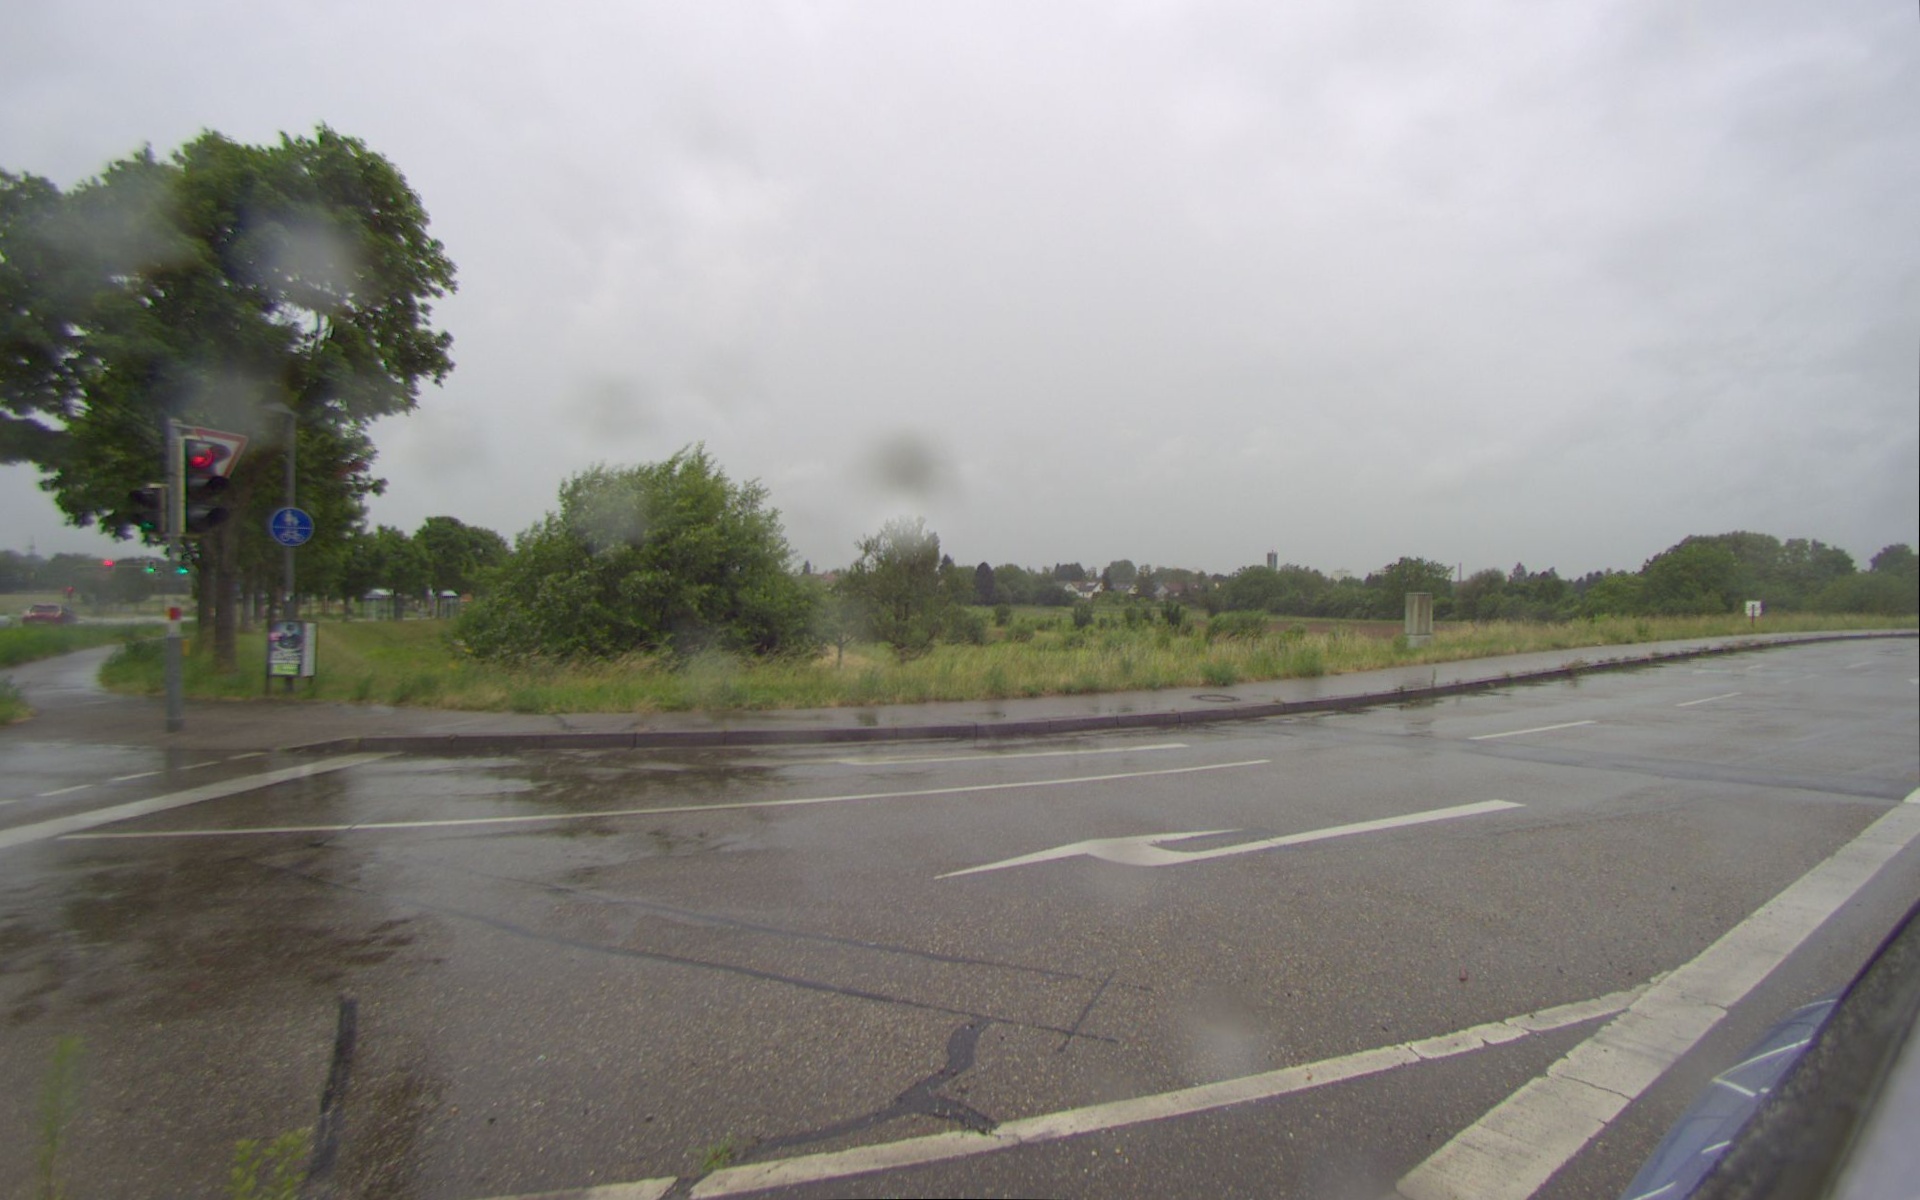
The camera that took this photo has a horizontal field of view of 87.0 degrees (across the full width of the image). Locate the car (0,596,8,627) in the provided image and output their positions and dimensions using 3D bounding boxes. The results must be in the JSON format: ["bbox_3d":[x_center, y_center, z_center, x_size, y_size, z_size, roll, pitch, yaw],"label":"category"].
[{"bbox_3d":[-43.997,0.540,44.861,1.843,1.371,4.055,0,1,-32],"label":"car"}]

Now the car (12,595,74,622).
[{"bbox_3d":[-51.269,0.460,56.673,1.843,1.371,4.055,0,1,-32],"label":"car"}]
